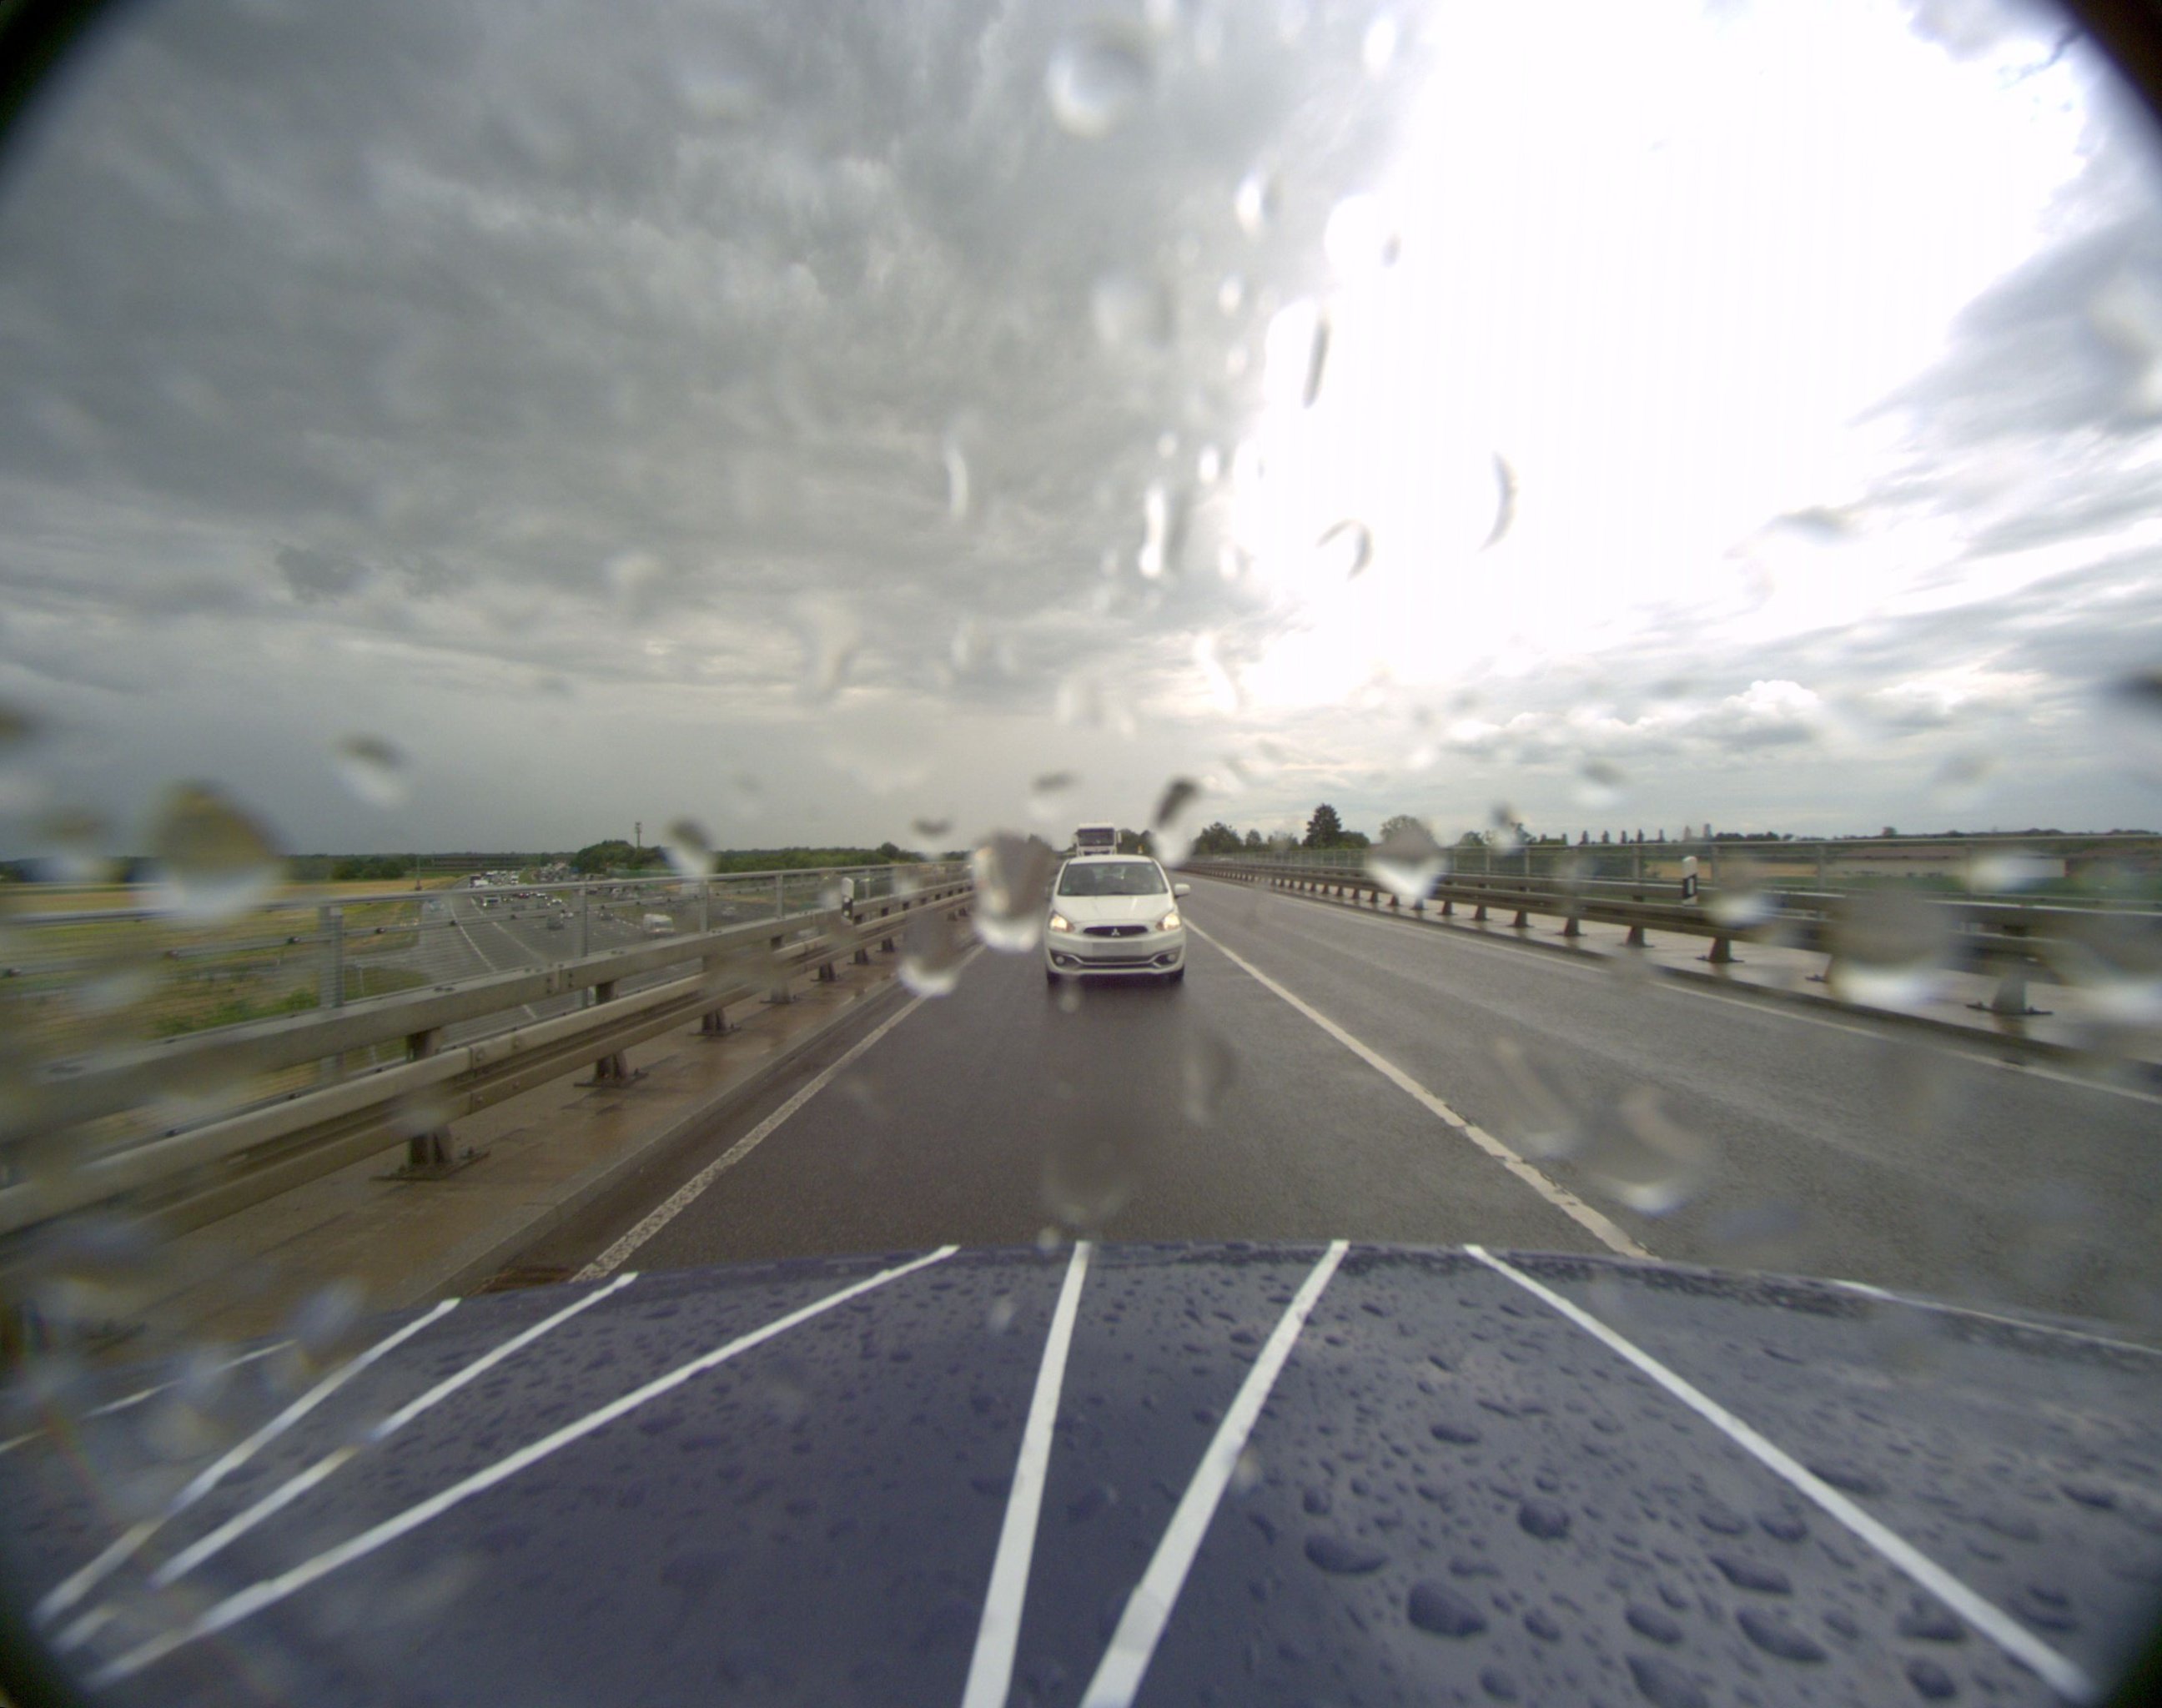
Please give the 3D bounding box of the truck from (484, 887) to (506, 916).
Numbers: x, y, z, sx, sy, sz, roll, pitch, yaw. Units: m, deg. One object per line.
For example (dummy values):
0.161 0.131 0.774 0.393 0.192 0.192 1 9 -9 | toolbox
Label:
-113.331 9.103 147.097 2.799 4.871 12.724 -3 1 -36 | truck

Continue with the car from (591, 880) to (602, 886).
-139.259 8.351 218.349 1.860 1.764 4.712 -3 1 -40 | car

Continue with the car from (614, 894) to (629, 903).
-97.308 9.335 160.889 1.860 1.659 4.712 -3 1 -40 | car

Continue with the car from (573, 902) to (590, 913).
-89.082 9.586 135.521 1.860 1.659 4.712 -3 1 -40 | car

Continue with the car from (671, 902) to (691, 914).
-65.393 8.860 124.299 1.860 1.659 4.712 -3 1 -40 | car

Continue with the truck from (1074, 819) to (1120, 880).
0.936 -0.460 49.462 2.630 3.537 8.474 -2 3 0 | truck

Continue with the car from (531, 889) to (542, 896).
-142.242 10.011 198.496 1.860 1.659 4.712 -3 1 -40 | car

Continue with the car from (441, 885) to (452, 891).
-159.423 8.486 190.879 1.818 1.427 4.712 -3 1 -41 | car

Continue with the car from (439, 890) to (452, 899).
-128.143 8.205 153.253 1.860 1.659 4.712 -3 1 -40 | car

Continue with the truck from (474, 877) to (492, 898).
-142.031 7.789 180.604 2.799 4.591 12.724 -3 1 -36 | truck

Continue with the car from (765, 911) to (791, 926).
-40.256 8.511 100.904 1.860 1.659 4.712 -3 1 -40 | car

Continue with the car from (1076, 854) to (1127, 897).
0.738 0.722 27.889 1.675 1.366 4.129 -2 1 1 | car

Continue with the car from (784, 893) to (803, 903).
-56.046 8.544 147.990 1.860 1.659 4.712 -3 1 -40 | car

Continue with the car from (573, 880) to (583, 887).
-144.618 8.480 218.573 1.860 1.764 4.712 -3 1 -40 | car

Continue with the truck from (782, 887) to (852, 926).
-35.624 6.877 102.005 3.610 4.511 15.589 -3 1 -39 | truck

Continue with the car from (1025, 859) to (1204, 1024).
0.356 0.862 9.421 1.675 1.476 4.129 -2 1 1 | car

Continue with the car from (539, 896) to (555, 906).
-99.082 8.712 140.966 1.860 1.659 4.712 -3 1 -40 | car

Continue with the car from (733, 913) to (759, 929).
-43.538 8.635 98.648 1.860 1.659 4.712 -3 1 -40 | car

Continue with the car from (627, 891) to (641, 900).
-99.923 9.273 169.937 1.860 1.659 4.712 -3 1 -40 | car

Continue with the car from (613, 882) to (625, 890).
-113.296 7.931 186.286 1.860 1.764 4.712 -3 1 -40 | car

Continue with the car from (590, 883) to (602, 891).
-122.201 8.273 191.320 1.860 1.659 4.712 -3 1 -40 | car

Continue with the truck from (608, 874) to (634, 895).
-125.409 8.200 206.888 3.302 5.411 15.588 -3 1 -40 | truck

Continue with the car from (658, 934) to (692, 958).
-38.142 8.592 71.296 1.818 1.659 4.712 -3 1 -40 | car

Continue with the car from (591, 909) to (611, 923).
-72.251 9.325 114.311 1.860 1.659 4.712 -3 1 -40 | car

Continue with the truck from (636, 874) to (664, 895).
-113.768 7.887 200.507 3.302 5.135 15.588 -3 1 -40 | truck

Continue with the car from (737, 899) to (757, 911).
-55.836 8.559 126.946 1.860 1.659 4.712 -3 1 -40 | car

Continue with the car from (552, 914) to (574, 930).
-68.262 8.891 100.026 1.860 1.659 4.712 -3 1 -40 | car

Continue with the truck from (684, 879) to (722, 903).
-79.226 7.565 158.904 3.610 4.511 15.589 -3 1 -39 | truck

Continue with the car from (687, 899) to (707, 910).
-65.991 8.677 130.563 1.860 1.659 4.712 -3 1 -40 | car

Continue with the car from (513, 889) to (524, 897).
-140.607 9.737 189.797 1.860 1.659 4.712 -3 1 -40 | car

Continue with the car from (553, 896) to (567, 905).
-107.144 9.614 156.368 1.860 1.659 4.712 -3 1 -40 | car

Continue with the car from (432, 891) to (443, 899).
-147.224 9.416 173.869 1.860 1.659 4.712 -3 1 -40 | car

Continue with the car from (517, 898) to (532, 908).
-100.767 8.865 137.587 1.860 1.659 4.712 -3 1 -40 | car

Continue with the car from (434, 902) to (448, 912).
-113.407 9.398 134.678 1.818 1.427 4.712 -3 1 -41 | car

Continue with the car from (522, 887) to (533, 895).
-132.648 8.784 182.024 1.860 1.659 4.712 -3 1 -40 | car

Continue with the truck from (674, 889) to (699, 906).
-76.300 8.304 146.970 2.216 2.948 9.284 -3 1 -40 | truck

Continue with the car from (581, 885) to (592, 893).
-130.050 9.155 199.759 1.860 1.764 4.712 -3 1 -40 | car

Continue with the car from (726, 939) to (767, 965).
-28.549 8.337 64.804 1.818 1.659 4.712 -3 1 -40 | car

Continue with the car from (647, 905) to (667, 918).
-66.463 8.975 119.165 1.860 1.659 4.712 -3 1 -40 | car

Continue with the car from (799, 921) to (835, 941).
-28.021 8.151 80.595 1.860 1.659 4.711 -3 1 -42 | car

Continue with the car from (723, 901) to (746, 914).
-52.755 8.143 115.649 1.860 1.659 4.712 -3 1 -40 | car

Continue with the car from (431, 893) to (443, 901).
-138.801 9.240 163.687 1.860 1.659 4.712 -3 1 -40 | car

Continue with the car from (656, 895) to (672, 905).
-82.990 9.137 151.088 1.860 1.659 4.712 -3 1 -40 | car

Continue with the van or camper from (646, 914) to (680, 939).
-49.967 8.582 90.677 2.063 2.436 7.311 -3 1 -40 | van or camper

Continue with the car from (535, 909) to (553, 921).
-83.211 9.434 117.748 1.860 1.659 4.712 -3 1 -40 | car
